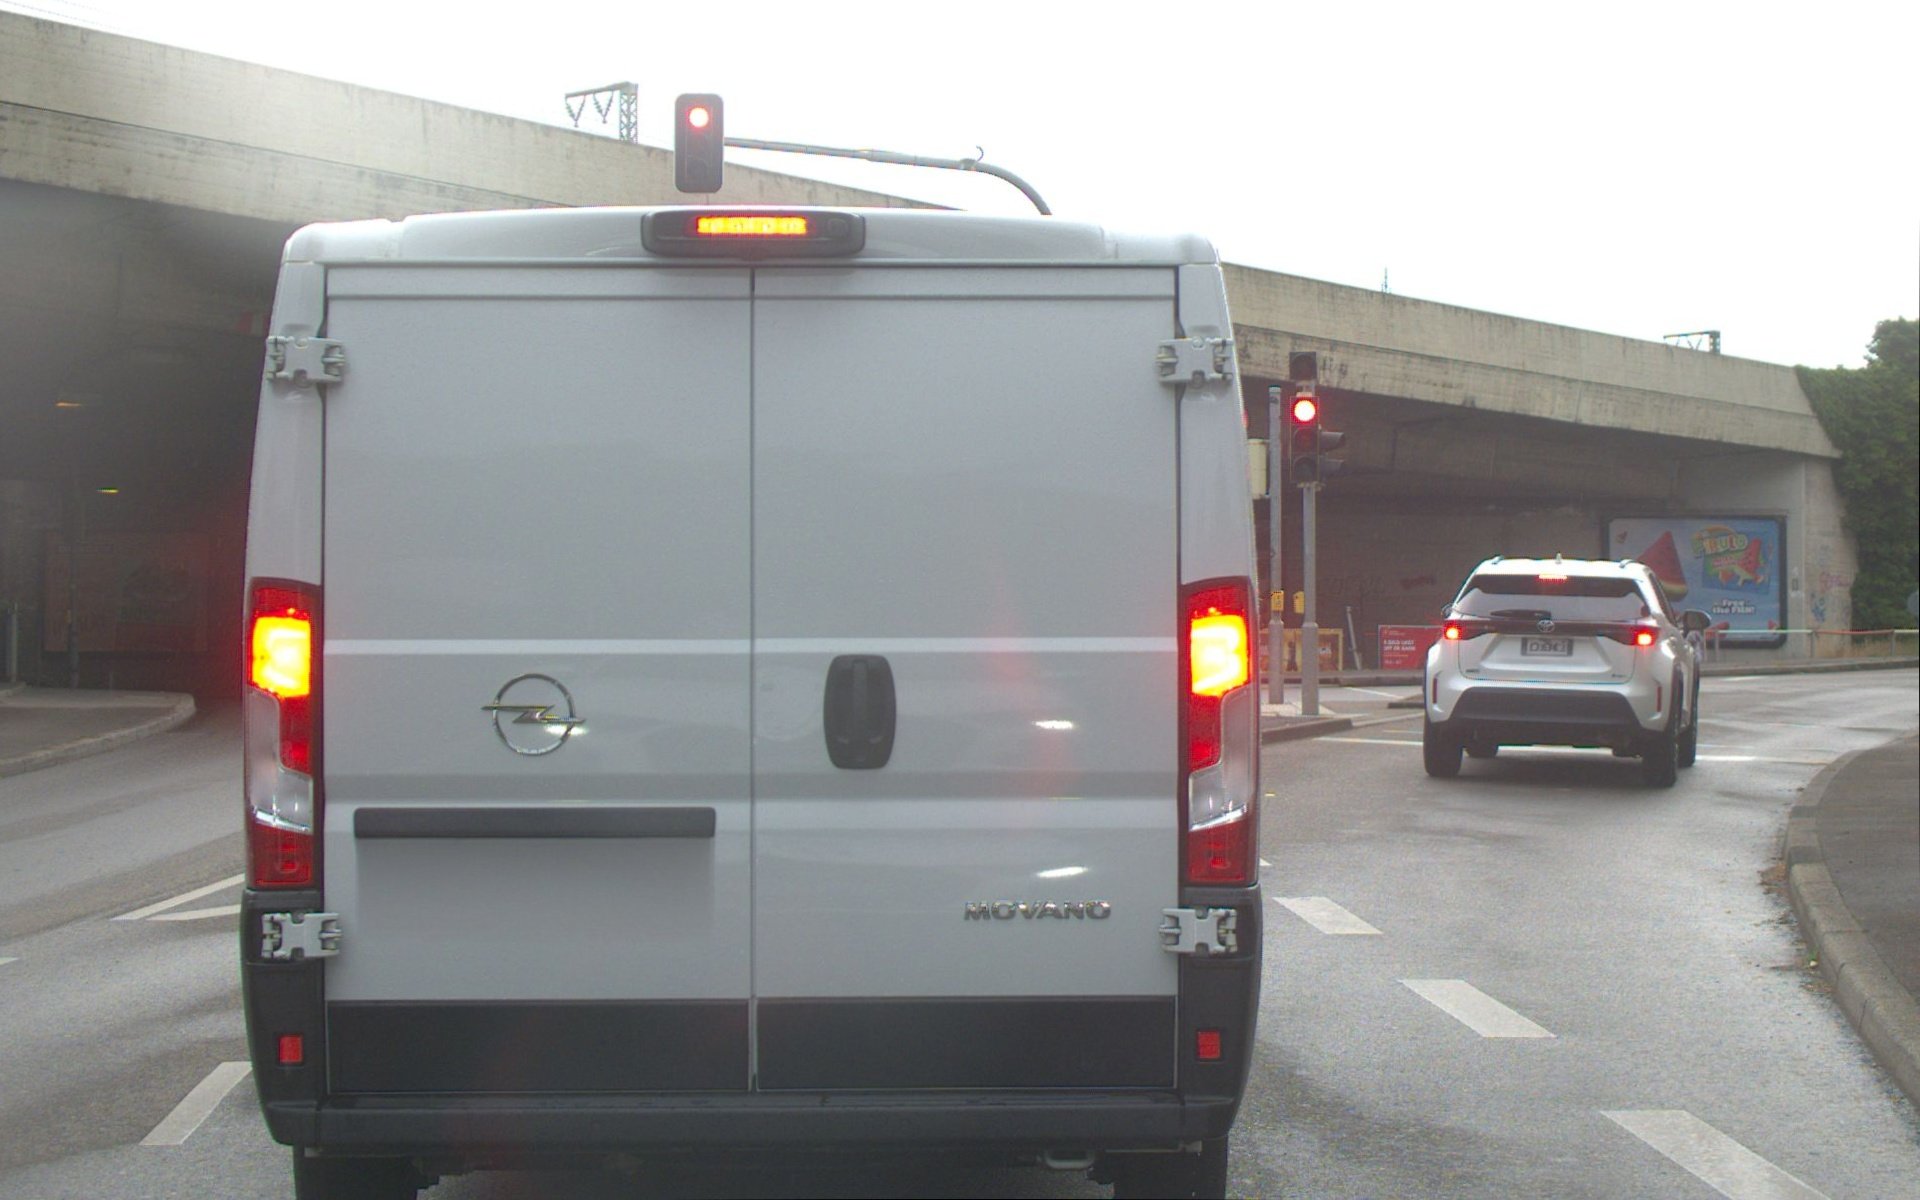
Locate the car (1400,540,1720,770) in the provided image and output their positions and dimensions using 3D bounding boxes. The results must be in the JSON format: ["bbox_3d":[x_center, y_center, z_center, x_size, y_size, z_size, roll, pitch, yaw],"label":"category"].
[{"bbox_3d":[4.483,0.384,25.241,1.995,1.544,3.997,0,0,15],"label":"car"}]

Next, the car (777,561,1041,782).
[{"bbox_3d":[-0.353,0.580,28.905,1.994,1.723,3.999,0,-1,2],"label":"car"}]

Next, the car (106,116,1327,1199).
[{"bbox_3d":[-0.523,0.234,9.149,2.305,2.335,5.282,0,0,-1],"label":"car"}]
